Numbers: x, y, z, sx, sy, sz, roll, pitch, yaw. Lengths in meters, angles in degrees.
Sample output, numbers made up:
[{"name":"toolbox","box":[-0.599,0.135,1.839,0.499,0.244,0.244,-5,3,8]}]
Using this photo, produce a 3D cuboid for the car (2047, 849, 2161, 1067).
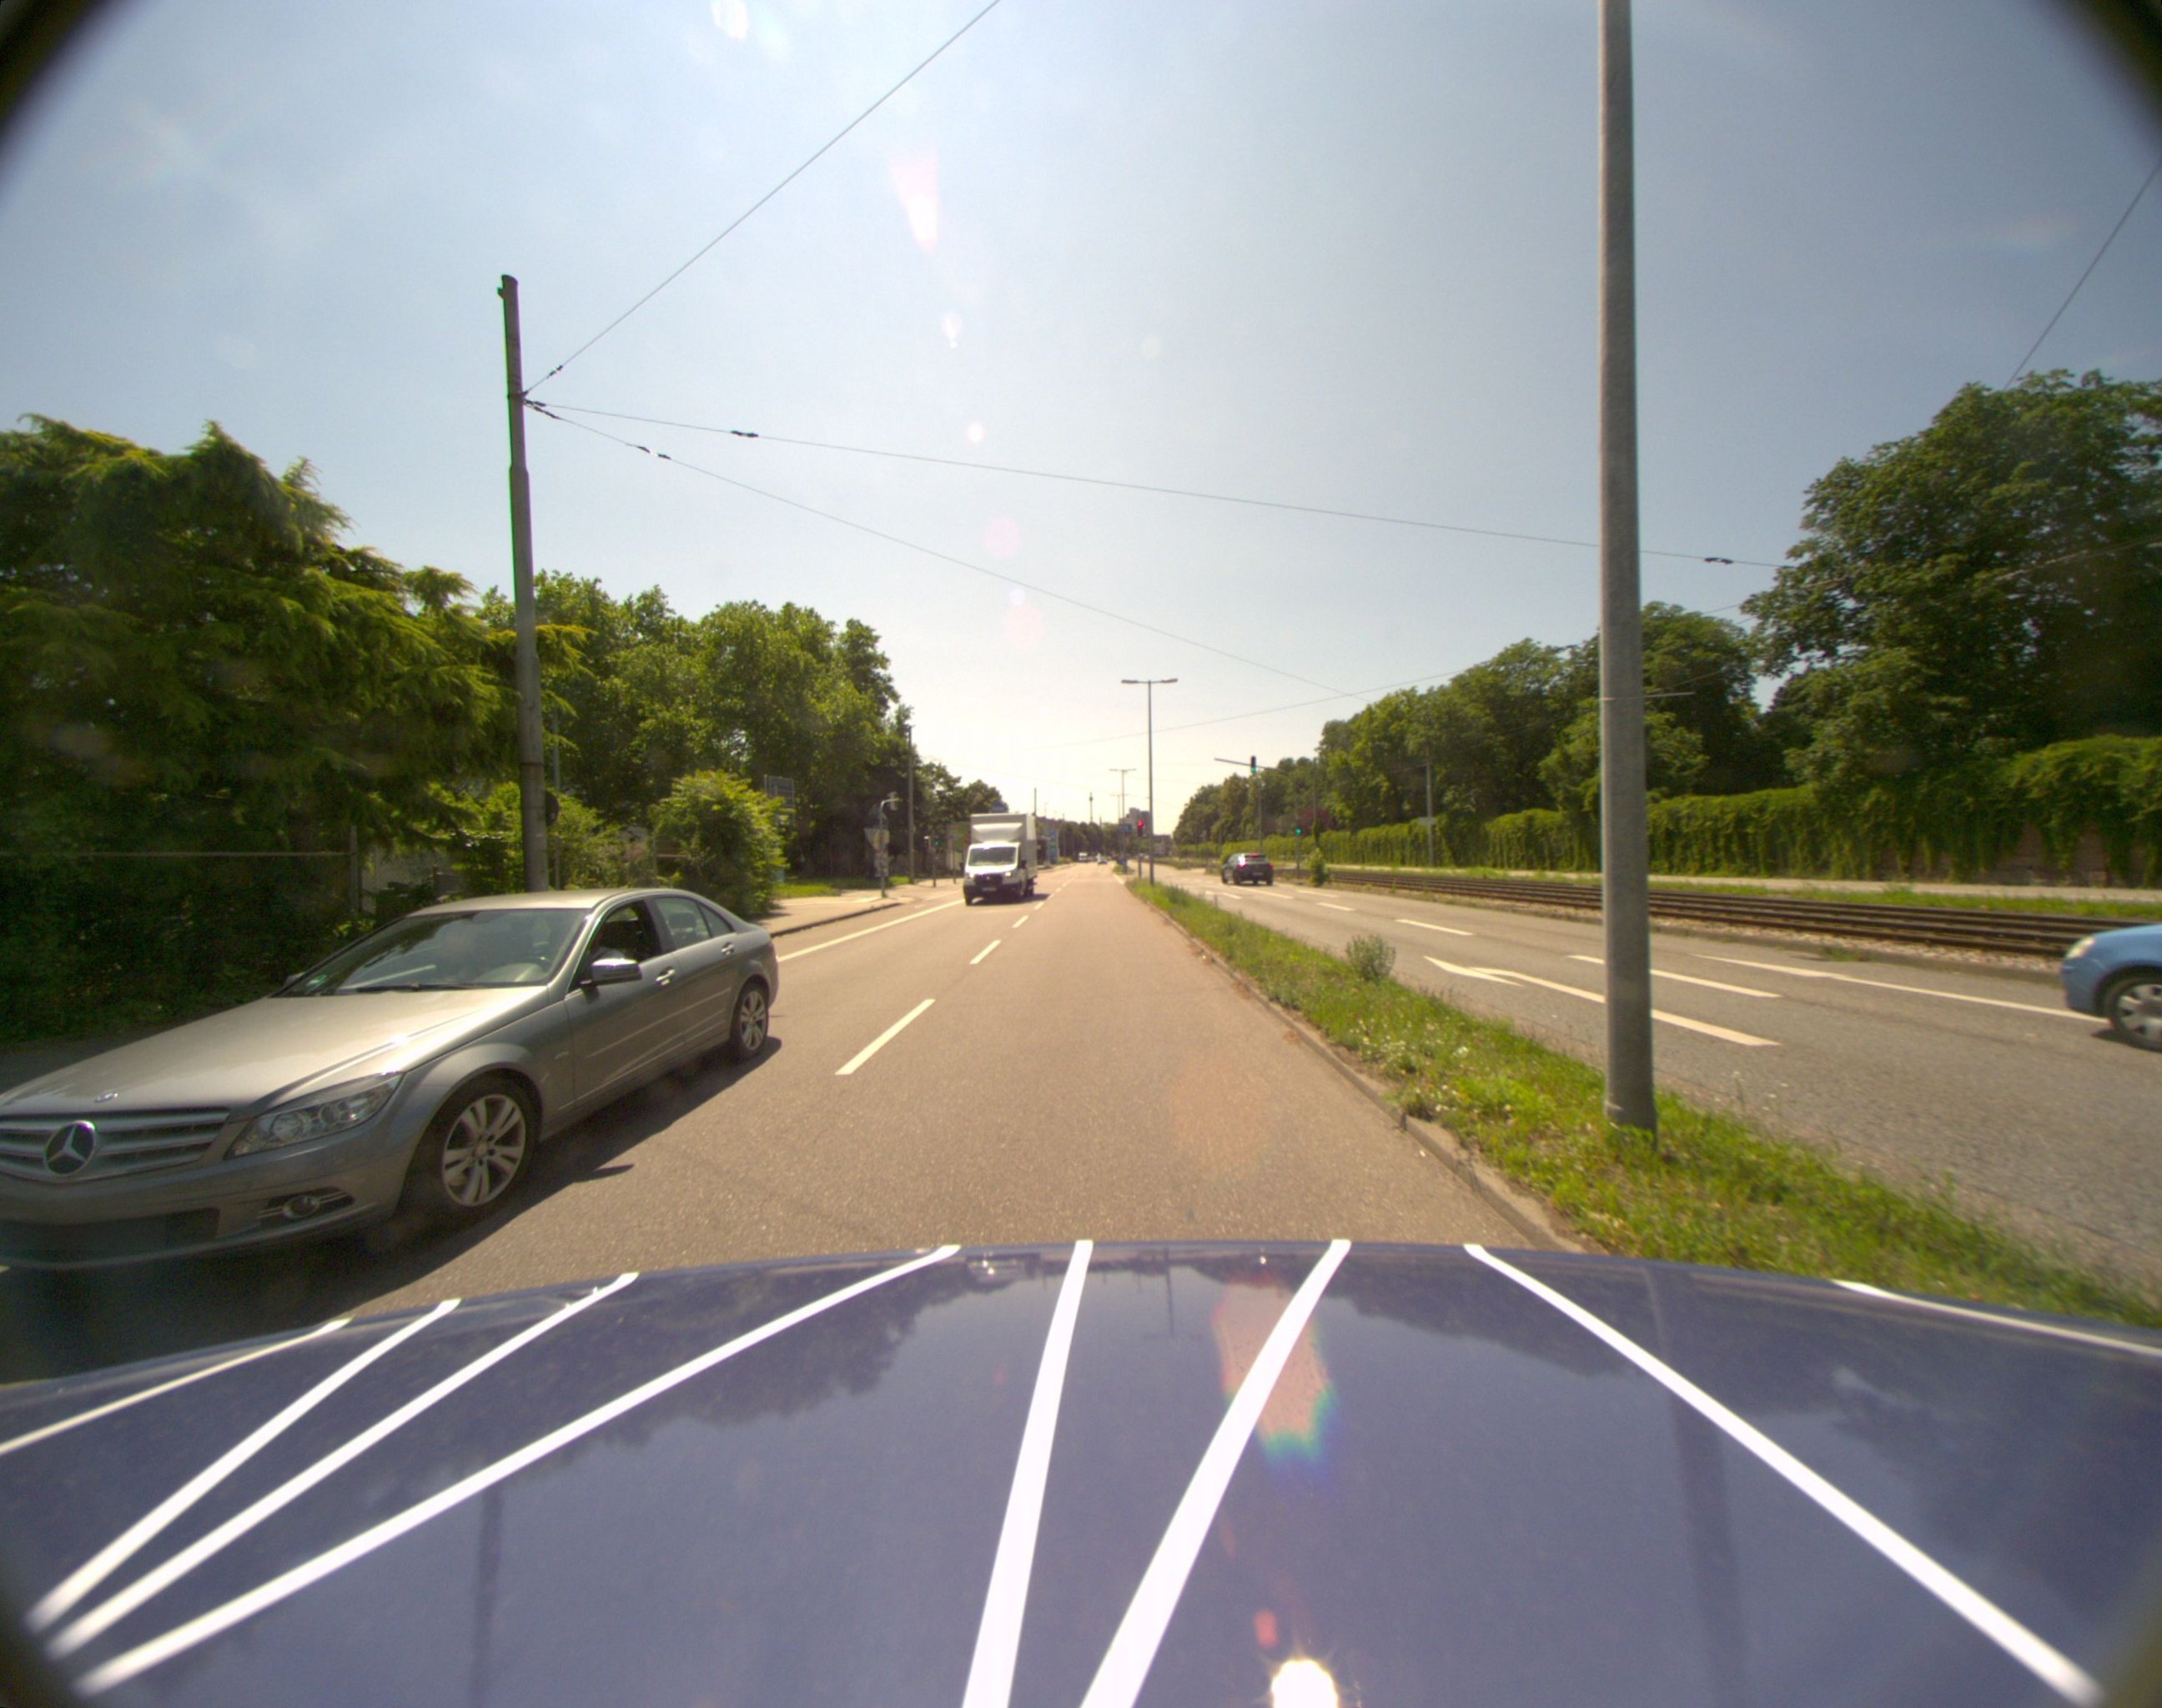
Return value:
[{"name":"car","box":[8.153,0.700,3.859,1.699,1.462,3.790,-1,0,0]}]

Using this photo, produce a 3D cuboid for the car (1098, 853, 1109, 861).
[{"name":"car","box":[4.264,0.567,143.883,1.829,1.556,4.000,-2,0,3]}]

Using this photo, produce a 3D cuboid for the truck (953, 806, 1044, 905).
[{"name":"truck","box":[-2.997,0.005,29.923,2.294,3.259,8.311,-2,1,2]}]

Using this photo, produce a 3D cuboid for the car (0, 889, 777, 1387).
[{"name":"car","box":[-3.606,1.059,4.527,1.903,1.451,3.971,-2,0,1]}]

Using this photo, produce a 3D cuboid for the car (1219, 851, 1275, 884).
[{"name":"car","box":[8.020,0.627,37.057,1.766,1.512,4.096,-1,0,-1]}]
